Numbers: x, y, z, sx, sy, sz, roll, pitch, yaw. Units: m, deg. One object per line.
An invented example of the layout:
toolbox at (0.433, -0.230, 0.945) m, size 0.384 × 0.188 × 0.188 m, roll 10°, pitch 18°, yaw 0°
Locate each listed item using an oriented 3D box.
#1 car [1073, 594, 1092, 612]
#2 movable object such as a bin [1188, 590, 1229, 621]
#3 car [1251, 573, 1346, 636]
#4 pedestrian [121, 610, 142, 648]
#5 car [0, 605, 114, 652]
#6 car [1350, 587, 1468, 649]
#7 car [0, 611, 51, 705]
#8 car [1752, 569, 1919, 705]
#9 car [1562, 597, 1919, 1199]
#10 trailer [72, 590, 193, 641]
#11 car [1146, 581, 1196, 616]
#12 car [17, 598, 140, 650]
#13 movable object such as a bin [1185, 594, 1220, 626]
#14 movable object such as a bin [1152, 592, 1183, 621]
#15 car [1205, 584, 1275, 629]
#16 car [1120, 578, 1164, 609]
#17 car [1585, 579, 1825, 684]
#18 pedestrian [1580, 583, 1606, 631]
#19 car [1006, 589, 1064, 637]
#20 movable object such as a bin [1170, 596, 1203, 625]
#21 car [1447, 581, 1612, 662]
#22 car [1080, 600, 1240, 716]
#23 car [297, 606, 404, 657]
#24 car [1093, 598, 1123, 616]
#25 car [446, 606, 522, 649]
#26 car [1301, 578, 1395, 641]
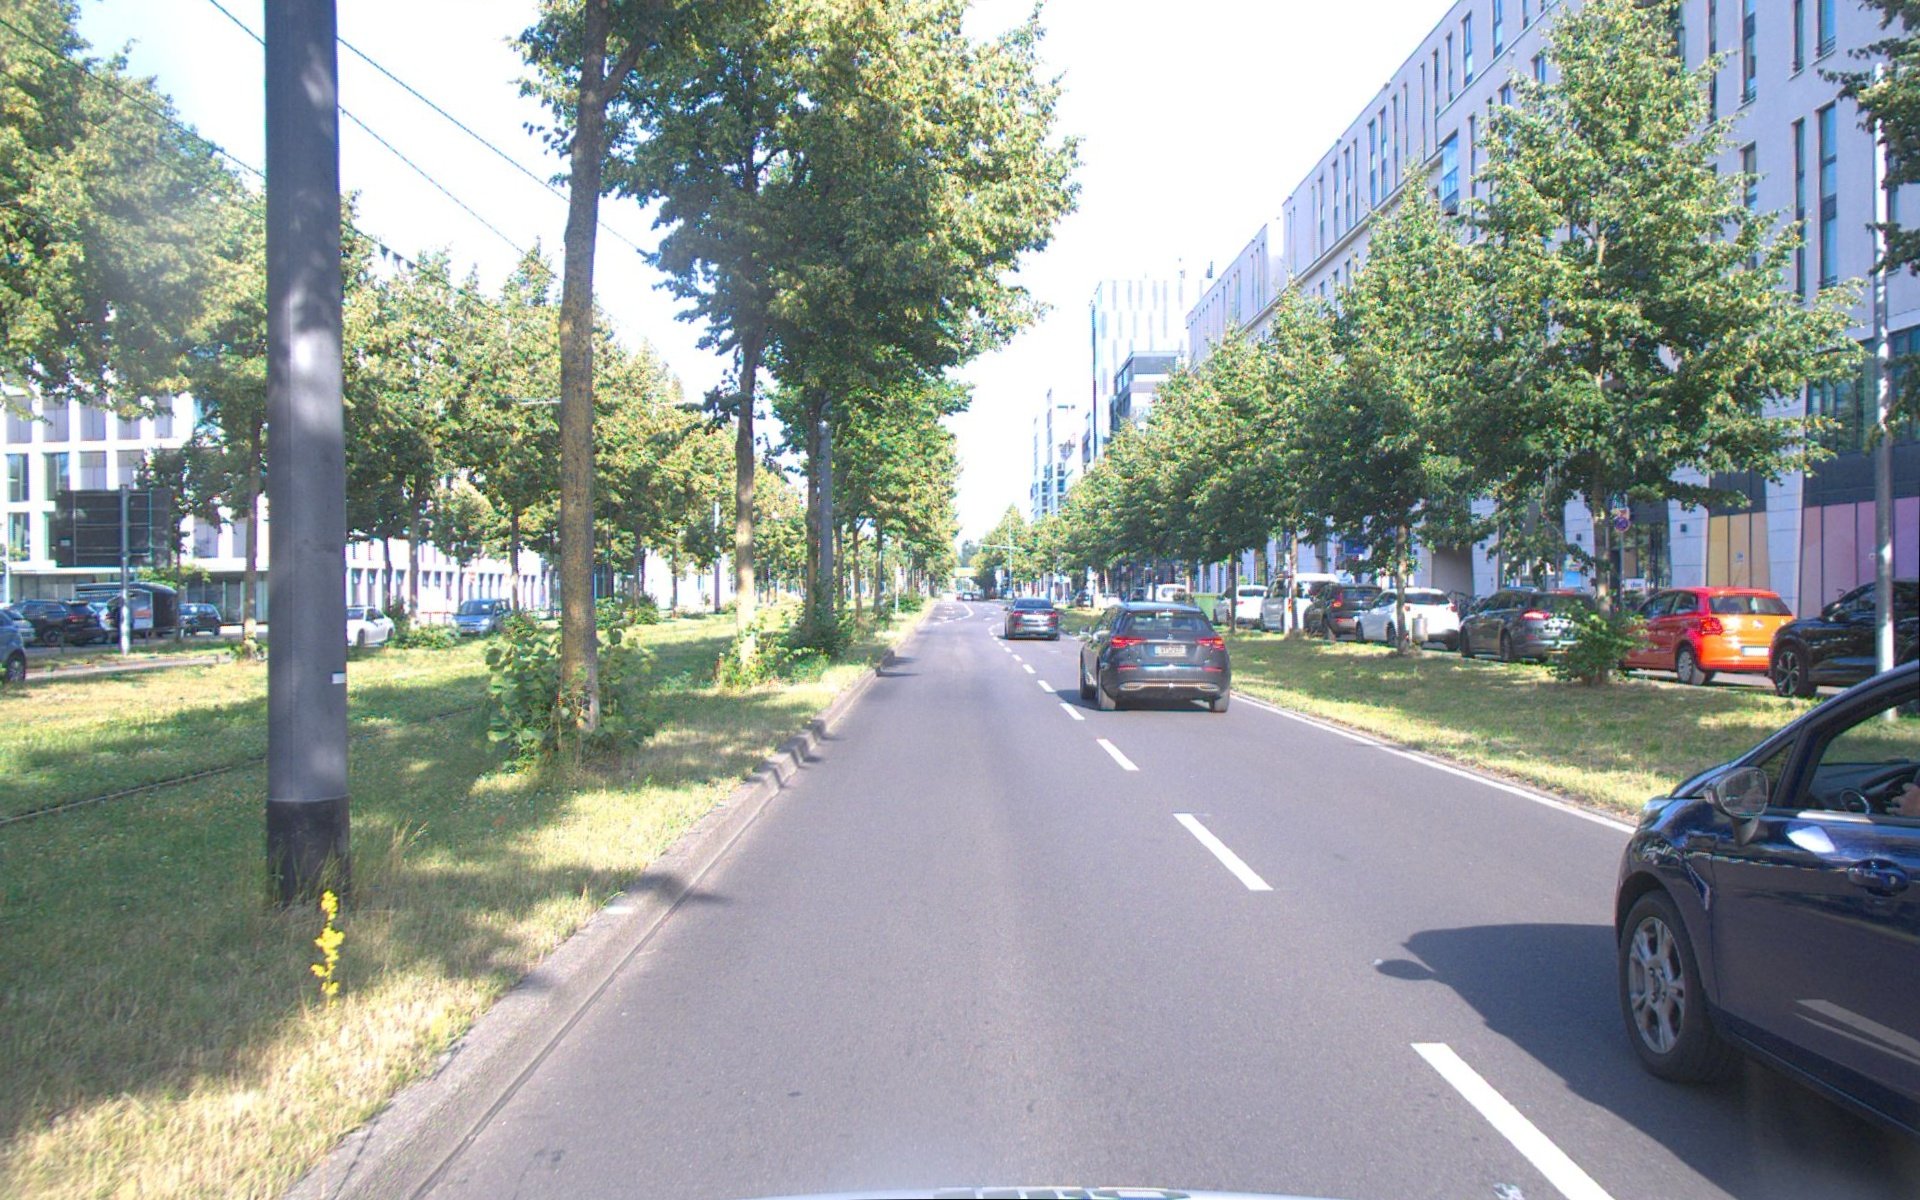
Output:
car at (10.360, 0.267, 139.728) m, size 1.573 × 1.394 × 4.159 m, roll 1°, pitch 0°, yaw 4°
movable object such as a bin at (10.526, 0.249, 70.035) m, size 1.371 × 1.258 × 1.334 m, roll 1°, pitch -1°, yaw 26°
car at (10.982, 0.150, 53.996) m, size 1.801 × 1.909 × 5.028 m, roll 1°, pitch 0°, yaw -3°
pedestrian at (-32.942, 1.157, 65.732) m, size 0.511 × 1.506 × 0.568 m, roll 1°, pitch -1°, yaw -1°
car at (-34.525, 1.076, 62.702) m, size 3.910 × 1.672 × 1.757 m, roll 1°, pitch -1°, yaw 0°
car at (11.105, 0.447, 41.184) m, size 1.583 × 1.437 × 4.165 m, roll 1°, pitch 0°, yaw -3°
car at (-16.820, 0.963, 27.061) m, size 1.577 × 1.559 × 4.132 m, roll 1°, pitch 0°, yaw 0°
car at (11.556, 0.441, 19.712) m, size 1.831 × 1.517 × 4.410 m, roll 1°, pitch 0°, yaw -5°
car at (2.976, 0.735, 4.046) m, size 1.528 × 1.449 × 3.906 m, roll 1°, pitch 0°, yaw -1°
trailer at (-35.596, 0.661, 71.196) m, size 4.273 × 2.090 × 1.758 m, roll 1°, pitch -1°, yaw 3°
car at (10.897, -0.078, 85.707) m, size 1.791 × 1.741 × 4.293 m, roll 1°, pitch 0°, yaw -3°
car at (-35.047, 0.940, 65.819) m, size 3.910 × 1.981 × 1.757 m, roll 1°, pitch -1°, yaw 0°
movable object such as a bin at (10.507, 0.440, 71.600) m, size 1.252 × 1.325 × 1.190 m, roll 1°, pitch -1°, yaw -4°
movable object such as a bin at (9.635, 0.309, 76.852) m, size 1.252 × 1.314 × 1.177 m, roll 1°, pitch -1°, yaw -4°
car at (10.884, 0.231, 64.616) m, size 1.696 × 1.658 × 4.847 m, roll -1°, pitch 0°, yaw -3°
car at (10.739, -0.403, 97.823) m, size 1.859 × 1.738 × 4.676 m, roll 1°, pitch 1°, yaw -2°
car at (11.430, 0.462, 25.688) m, size 1.694 × 1.457 × 4.111 m, roll 1°, pitch 0°, yaw -3°
pedestrian at (20.627, 0.228, 53.896) m, size 0.585 × 1.548 × 0.513 m, roll 1°, pitch -1°, yaw -13°
car at (2.573, 0.449, 57.424) m, size 1.822 × 1.551 × 3.785 m, roll 1°, pitch 0°, yaw 0°
movable object such as a bin at (10.165, 0.463, 74.284) m, size 1.252 × 1.258 × 1.190 m, roll 1°, pitch -1°, yaw -4°
car at (11.181, 0.420, 32.827) m, size 1.693 × 1.457 × 4.722 m, roll 1°, pitch 0°, yaw 1°
car at (2.709, 0.755, 23.181) m, size 1.738 × 1.449 × 3.960 m, roll 1°, pitch 0°, yaw 0°
car at (-19.688, 0.999, 53.638) m, size 1.648 × 1.502 × 4.812 m, roll -3°, pitch 0°, yaw 0°
car at (10.578, 0.507, 118.456) m, size 1.673 × 1.264 × 3.904 m, roll 1°, pitch 0°, yaw -1°
car at (-16.429, 0.922, 57.279) m, size 1.551 × 1.417 × 3.696 m, roll 1°, pitch 0°, yaw 0°
car at (11.051, 0.282, 47.357) m, size 1.693 × 1.679 × 4.339 m, roll 1°, pitch 0°, yaw 0°
